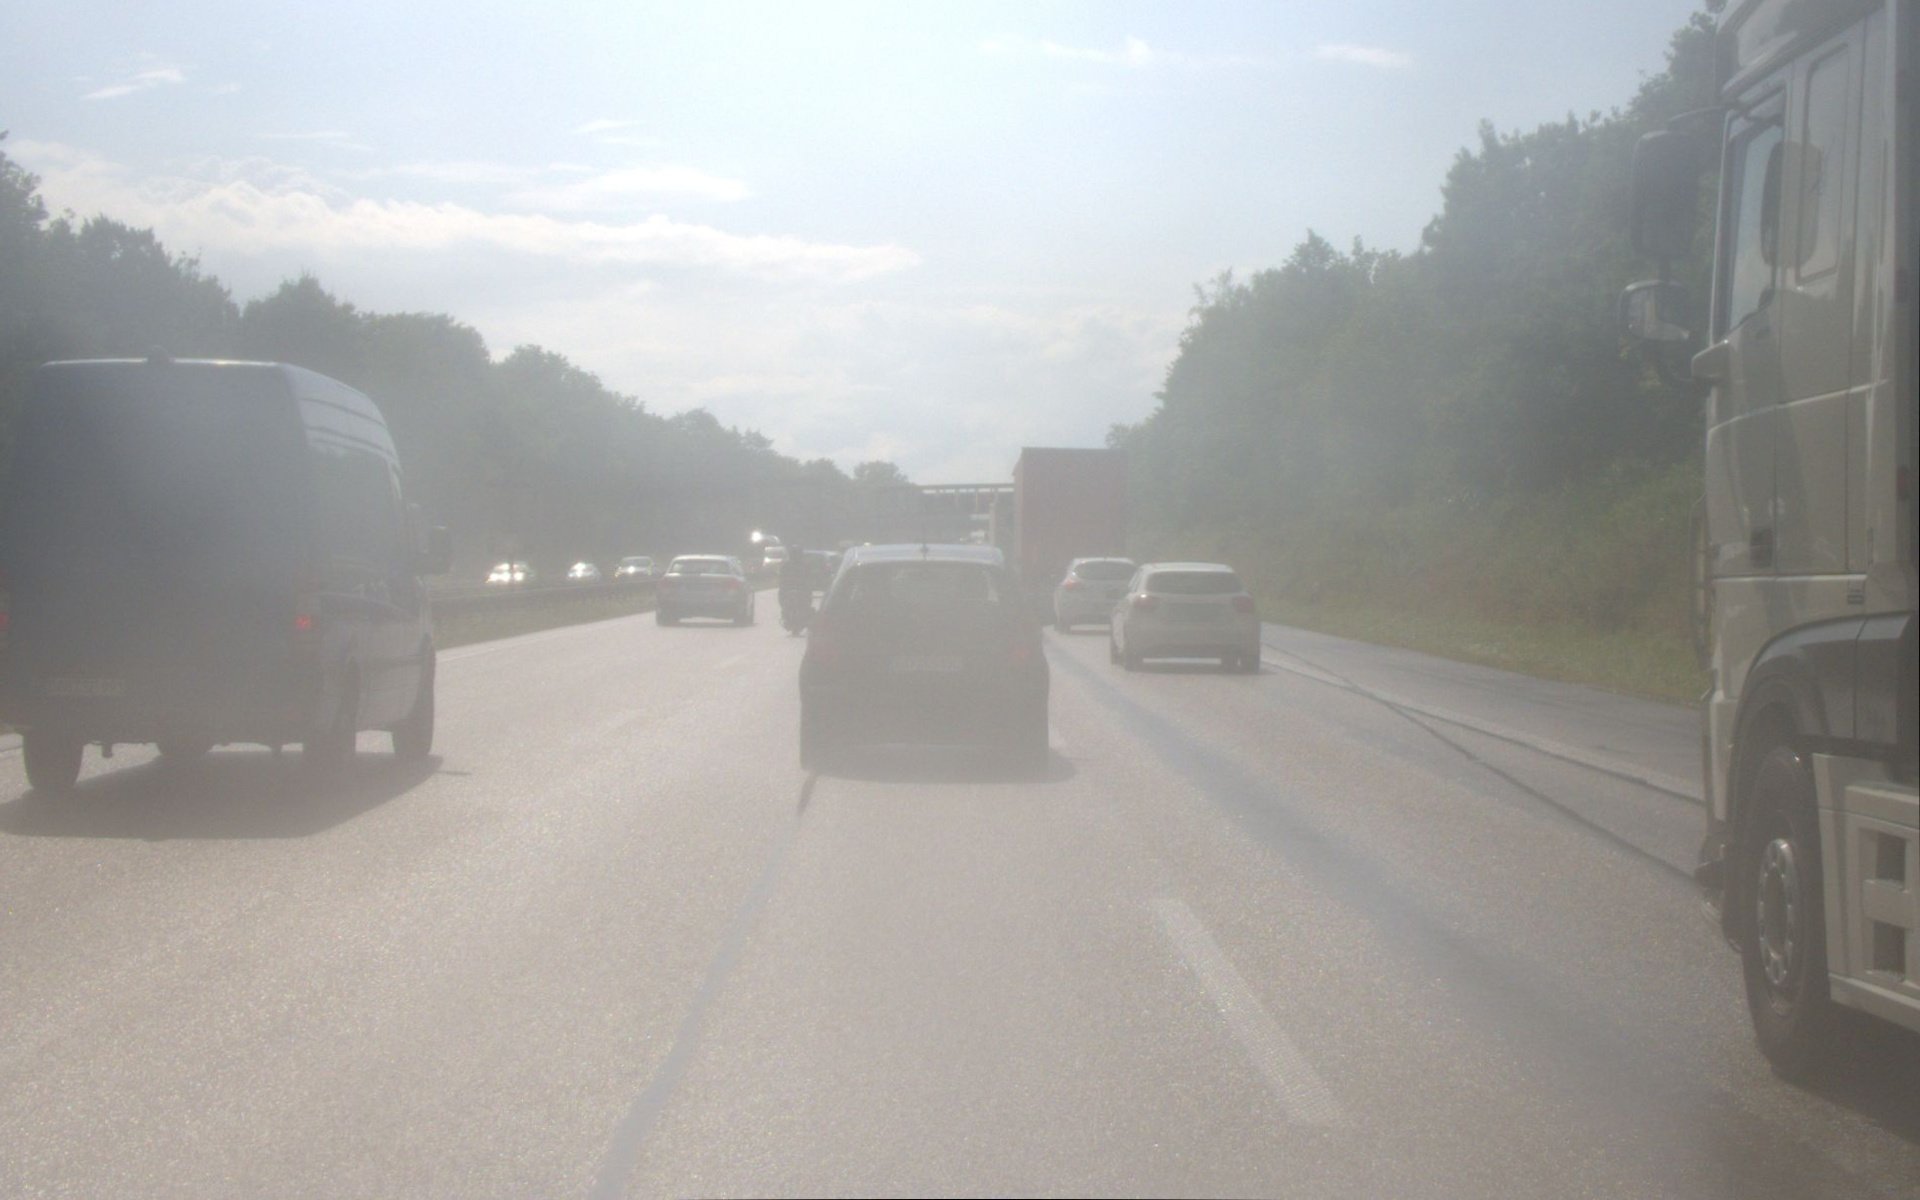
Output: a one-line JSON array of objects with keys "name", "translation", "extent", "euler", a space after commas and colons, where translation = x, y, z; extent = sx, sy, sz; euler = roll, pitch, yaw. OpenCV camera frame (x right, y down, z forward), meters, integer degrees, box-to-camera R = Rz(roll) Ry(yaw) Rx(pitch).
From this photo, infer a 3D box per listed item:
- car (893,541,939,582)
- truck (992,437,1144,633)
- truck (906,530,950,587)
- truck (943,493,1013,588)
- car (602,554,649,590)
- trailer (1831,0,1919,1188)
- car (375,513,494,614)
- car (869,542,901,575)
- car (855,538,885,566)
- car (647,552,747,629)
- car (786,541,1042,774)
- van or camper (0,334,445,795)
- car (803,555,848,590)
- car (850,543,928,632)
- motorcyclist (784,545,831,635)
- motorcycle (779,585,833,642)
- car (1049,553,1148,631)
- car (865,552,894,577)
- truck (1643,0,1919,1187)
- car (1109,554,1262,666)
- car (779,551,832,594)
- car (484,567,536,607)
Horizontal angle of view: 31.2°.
[{"name": "car", "translation": [-1.529, -1.349, 119.600], "extent": [1.552, 1.378, 3.210], "euler": [1, 1, -1]}, {"name": "truck", "translation": [2.746, -1.662, 92.011], "extent": [3.650, 4.704, 16.779], "euler": [1, 1, 1]}, {"name": "truck", "translation": [-1.683, -2.164, 179.079], "extent": [2.192, 2.865, 4.850], "euler": [1, 0, -1]}, {"name": "truck", "translation": [0.933, -2.859, 168.069], "extent": [3.256, 4.464, 12.421], "euler": [1, 1, 1]}, {"name": "car", "translation": [-15.649, -1.324, 161.064], "extent": [1.837, 1.657, 4.441], "euler": [1, 1, -1]}, {"name": "trailer", "translation": [3.664, -0.521, 1.928], "extent": [2.634, 3.982, 14.065], "euler": [1, 1, 0]}, {"name": "car", "translation": [-13.170, -0.912, 86.470], "extent": [2.183, 2.444, 5.748], "euler": [1, 1, -1]}, {"name": "car", "translation": [-4.704, -2.614, 216.729], "extent": [1.993, 2.007, 4.000], "euler": [0, 1, -1]}, {"name": "car", "translation": [-4.528, -2.432, 173.274], "extent": [1.485, 1.385, 3.198], "euler": [1, 1, -1]}, {"name": "car", "translation": [-5.473, -0.214, 71.808], "extent": [1.854, 1.546, 3.485], "euler": [1, 1, -1]}, {"name": "car", "translation": [-0.340, 0.373, 25.145], "extent": [1.717, 1.562, 3.485], "euler": [1, 1, -1]}, {"name": "van or camper", "translation": [-4.777, -0.234, 22.731], "extent": [1.993, 2.659, 5.385], "euler": [1, 0, -1]}, {"name": "car", "translation": [-5.628, -1.159, 144.071], "extent": [1.751, 1.452, 3.390], "euler": [1, 1, -1]}, {"name": "car", "translation": [-1.439, -0.261, 70.159], "extent": [1.531, 1.740, 3.485], "euler": [1, 0, -1]}, {"name": "motorcyclist", "translation": [-2.778, -0.184, 62.764], "extent": [0.801, 1.627, 1.013], "euler": [1, 0, -1]}, {"name": "motorcycle", "translation": [-2.800, 0.236, 62.820], "extent": [0.890, 0.997, 2.896], "euler": [1, 1, -1]}, {"name": "car", "translation": [2.668, -0.166, 66.810], "extent": [1.680, 1.437, 3.905], "euler": [1, 1, -1]}, {"name": "car", "translation": [-5.629, -2.512, 240.328], "extent": [1.993, 1.695, 4.000], "euler": [0, 1, -1]}, {"name": "truck", "translation": [3.610, -0.576, 7.701], "extent": [2.607, 3.982, 7.290], "euler": [1, 0, 0]}, {"name": "car", "translation": [2.996, 0.105, 46.336], "extent": [1.692, 1.420, 4.220], "euler": [1, 1, -1]}, {"name": "car", "translation": [-5.403, -0.961, 120.771], "extent": [1.751, 1.452, 3.390], "euler": [1, 1, -1]}, {"name": "car", "translation": [-18.991, -0.567, 145.159], "extent": [1.699, 1.657, 4.236], "euler": [1, 1, -1]}]
